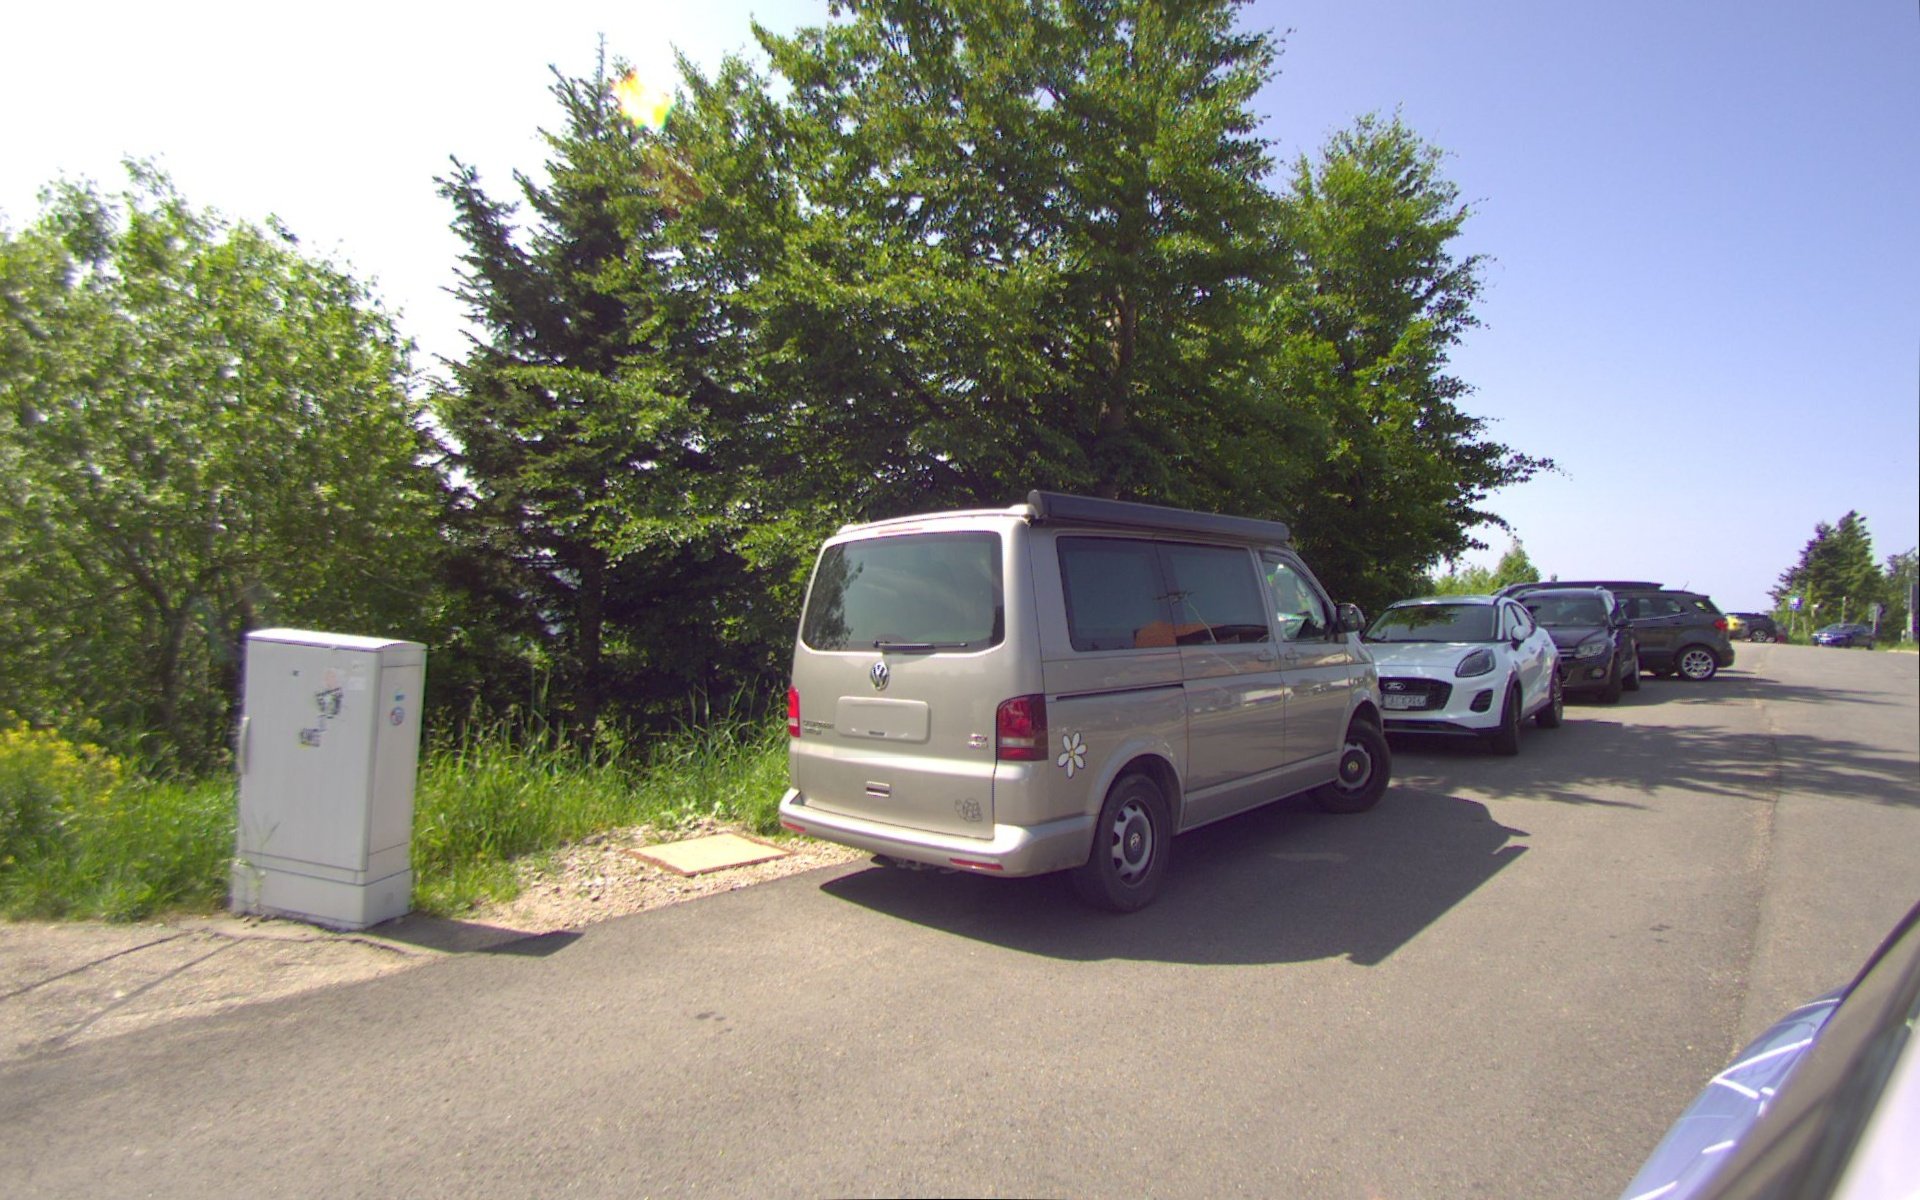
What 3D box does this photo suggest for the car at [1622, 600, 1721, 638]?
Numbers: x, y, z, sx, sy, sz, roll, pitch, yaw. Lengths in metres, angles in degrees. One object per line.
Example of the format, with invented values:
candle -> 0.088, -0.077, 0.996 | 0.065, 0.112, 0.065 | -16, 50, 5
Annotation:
car -> 36.240, 0.940, 51.600 | 3.900, 1.634, 1.847 | 4, 2, 43

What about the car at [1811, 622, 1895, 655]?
car -> 50.578, 2.178, 57.348 | 3.830, 1.634, 1.881 | 2, 1, -19

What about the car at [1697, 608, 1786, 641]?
car -> 45.240, 1.364, 58.611 | 3.900, 1.634, 1.847 | 4, 2, 43

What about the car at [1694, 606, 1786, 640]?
car -> 43.608, 1.252, 56.625 | 3.900, 1.634, 1.847 | 4, 2, 43

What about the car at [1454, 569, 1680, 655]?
car -> 14.587, 0.308, 24.645 | 4.406, 1.950, 1.863 | -1, -1, 21

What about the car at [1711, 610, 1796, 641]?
car -> 48.118, 1.515, 61.393 | 3.900, 1.634, 1.847 | 4, 2, 43

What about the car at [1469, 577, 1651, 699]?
car -> 9.367, 0.524, 15.659 | 1.867, 1.639, 3.943 | -1, -1, 39

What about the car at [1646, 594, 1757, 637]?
car -> 38.759, 0.758, 52.954 | 4.446, 1.949, 1.847 | 4, 2, 43

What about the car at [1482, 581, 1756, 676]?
car -> 12.185, 0.528, 19.047 | 3.951, 1.639, 1.863 | -1, -1, 21

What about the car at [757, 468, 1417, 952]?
car -> 1.131, 0.470, 6.424 | 1.856, 1.960, 4.537 | -2, -2, 43

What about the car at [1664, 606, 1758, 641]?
car -> 40.953, 1.274, 55.235 | 3.900, 1.634, 1.847 | 4, 2, 43

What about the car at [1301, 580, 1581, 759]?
car -> 5.350, 0.626, 10.995 | 1.867, 1.567, 3.943 | -1, -1, 39
